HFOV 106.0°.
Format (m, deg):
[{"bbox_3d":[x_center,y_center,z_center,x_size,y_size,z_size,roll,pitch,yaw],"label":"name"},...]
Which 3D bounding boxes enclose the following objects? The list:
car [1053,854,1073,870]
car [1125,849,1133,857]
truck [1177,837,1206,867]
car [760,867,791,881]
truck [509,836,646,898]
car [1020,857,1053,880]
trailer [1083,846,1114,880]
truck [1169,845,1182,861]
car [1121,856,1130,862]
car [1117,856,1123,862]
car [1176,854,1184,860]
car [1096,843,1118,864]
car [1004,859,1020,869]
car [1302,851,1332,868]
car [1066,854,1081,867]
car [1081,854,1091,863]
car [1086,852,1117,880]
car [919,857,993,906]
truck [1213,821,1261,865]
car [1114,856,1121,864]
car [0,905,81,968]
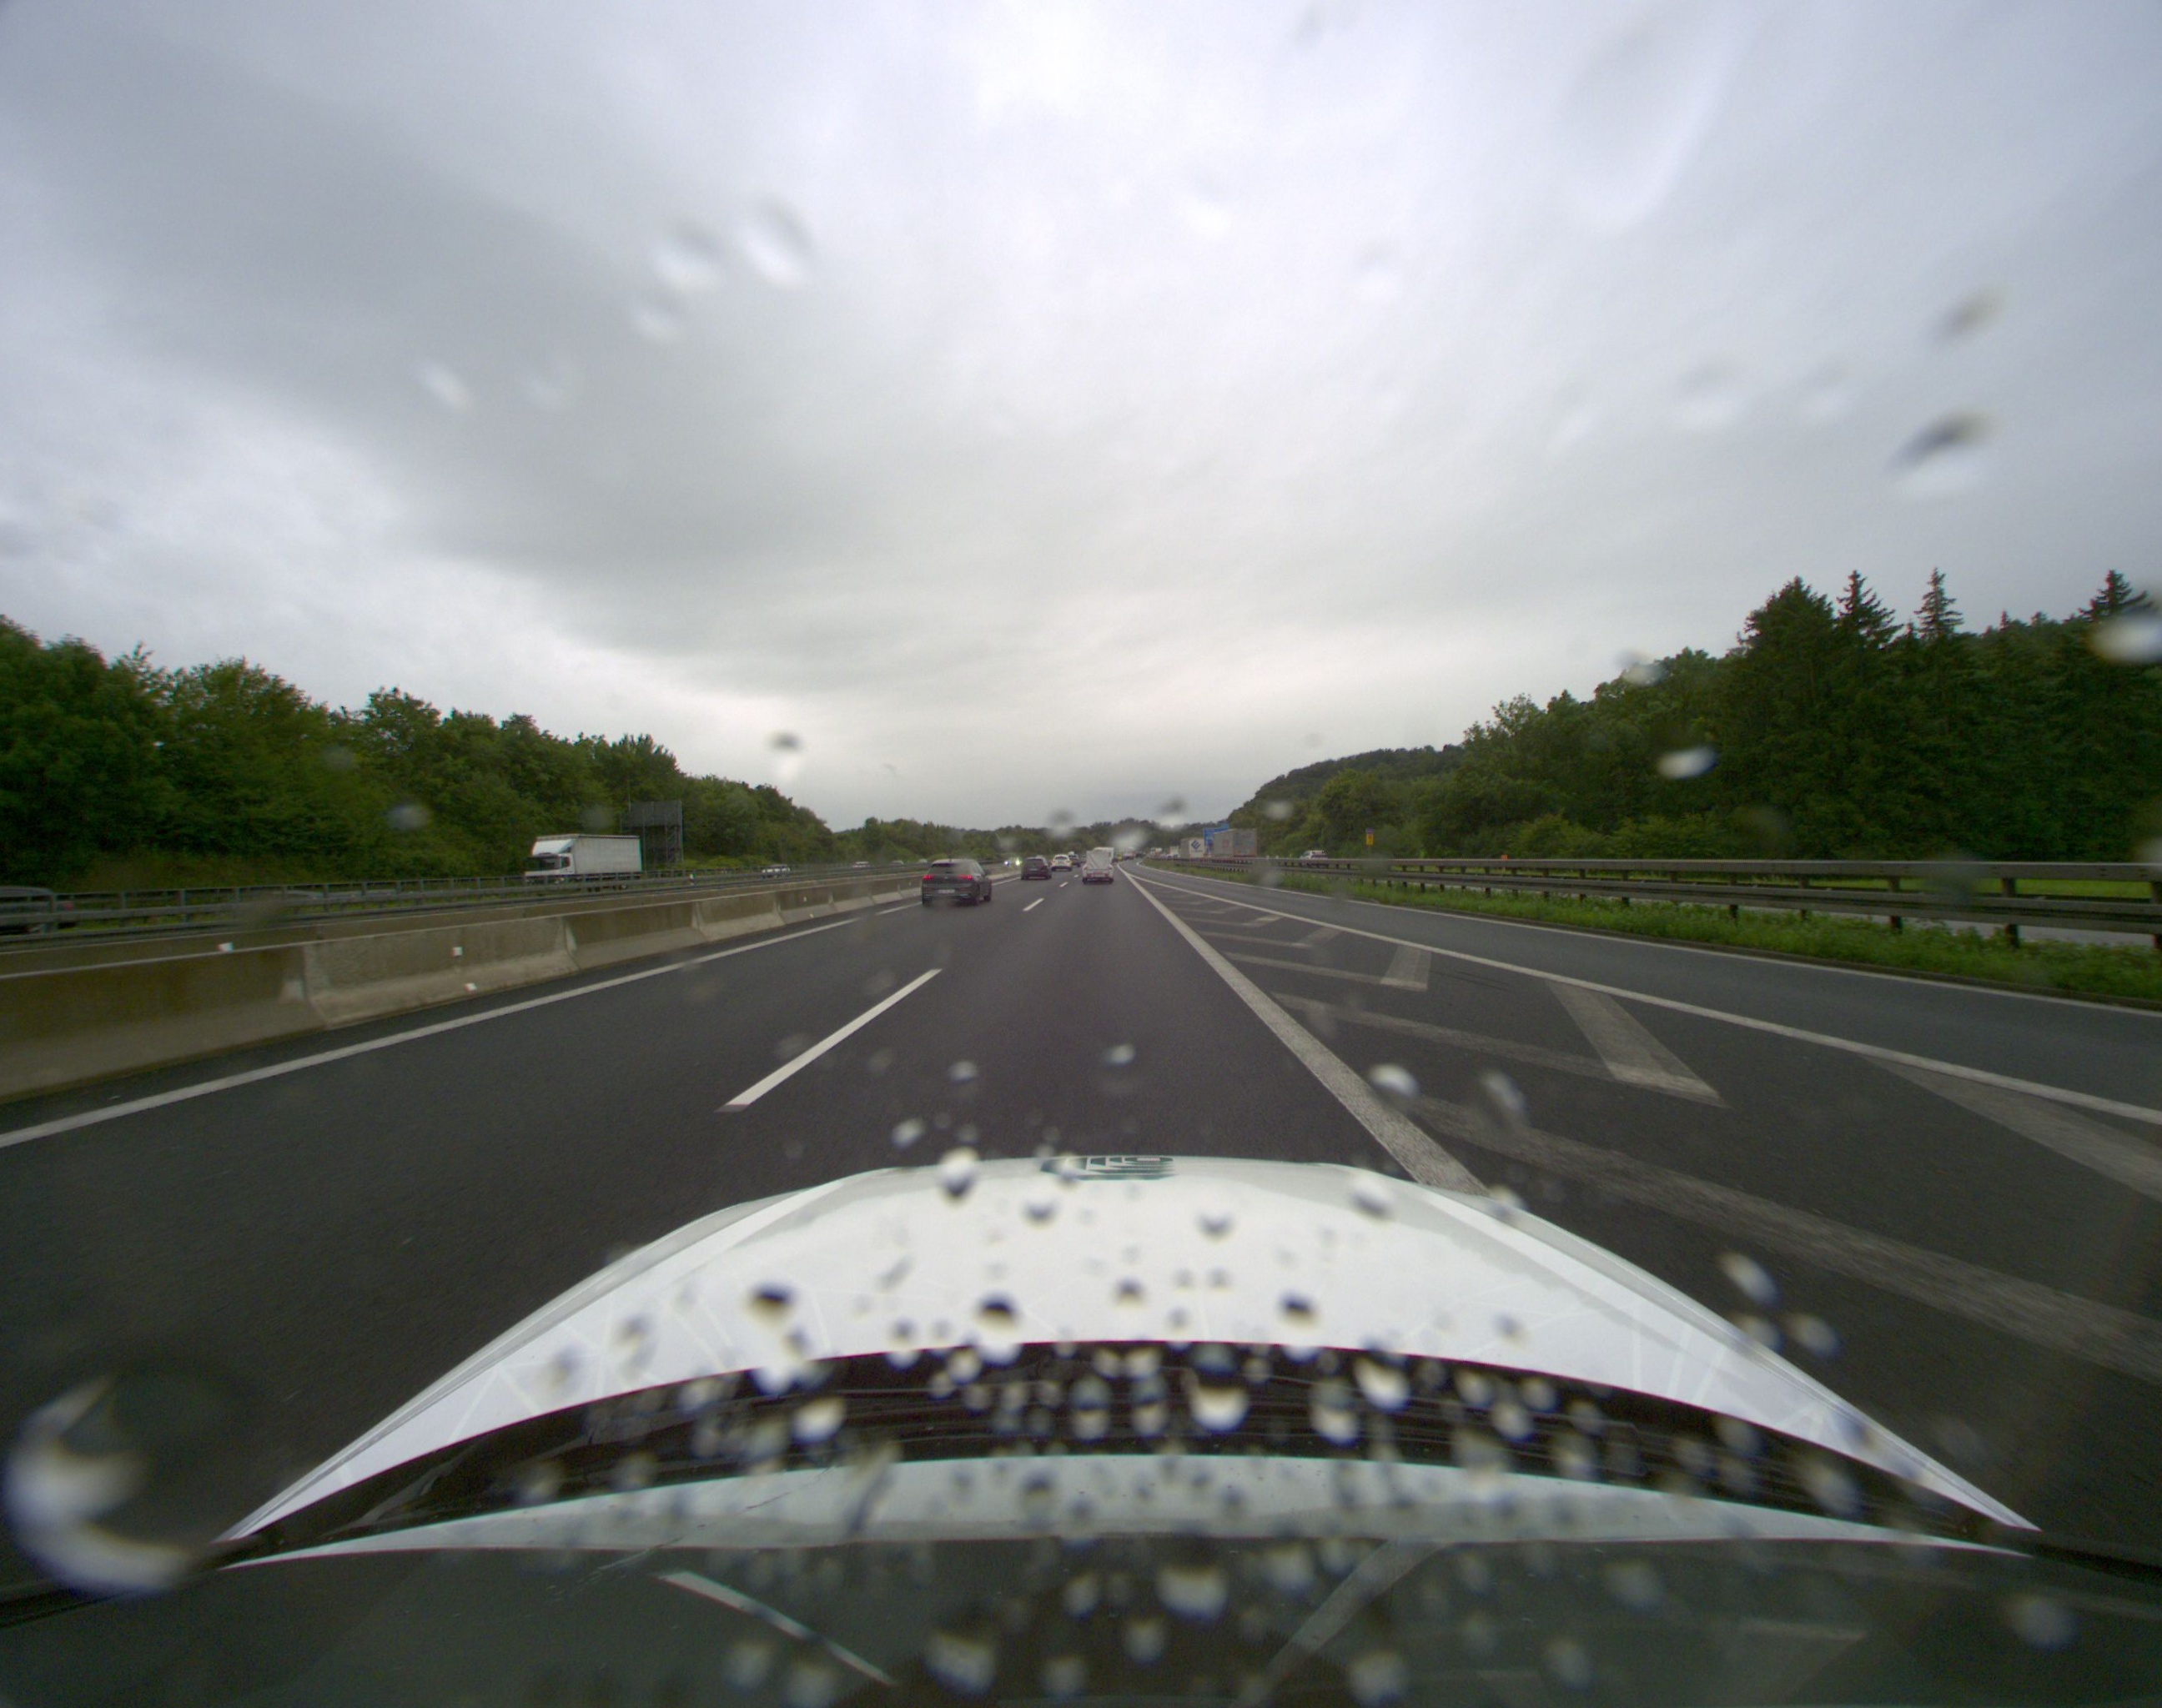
[{"bbox_3d":[-1.778,0.796,81.599,1.769,1.640,4.044,0,0,2],"label":"car"},{"bbox_3d":[14.929,-0.379,253.232,2.504,2.575,5.317,0,-1,4],"label":"car"},{"bbox_3d":[18.178,-0.297,134.662,3.204,4.666,13.034,0,0,1],"label":"truck"},{"bbox_3d":[-32.500,2.093,86.708,1.669,1.456,4.001,0,0,2],"label":"car"},{"bbox_3d":[-33.896,0.859,55.502,3.062,3.879,9.639,0,0,2],"label":"truck"},{"bbox_3d":[-2.919,0.930,53.853,1.758,1.456,4.002,0,0,2],"label":"car"},{"bbox_3d":[1.031,0.512,45.766,1.669,1.812,4.002,0,-1,2],"label":"trailer"},{"bbox_3d":[27.194,-0.199,234.035,3.644,4.666,13.056,0,0,7],"label":"truck"},{"bbox_3d":[12.592,1.304,229.477,2.025,1.683,4.010,0,-1,9],"label":"car"},{"bbox_3d":[10.417,1.327,216.704,1.668,1.812,4.004,0,-1,4],"label":"car"},{"bbox_3d":[23.093,0.695,189.859,1.668,1.456,4.003,0,0,3],"label":"car"},{"bbox_3d":[3.409,-0.011,105.524,2.496,2.585,5.705,0,-1,4],"label":"car"},{"bbox_3d":[-9.679,1.387,114.914,1.749,1.456,4.419,0,0,2],"label":"car"},{"bbox_3d":[21.492,0.511,74.293,1.670,1.456,4.000,0,0,1],"label":"car"},{"bbox_3d":[-0.951,0.880,108.710,1.769,1.640,4.044,0,0,2],"label":"car"},{"bbox_3d":[0.963,0.902,155.949,1.768,1.640,4.047,0,0,4],"label":"car"},{"bbox_3d":[1.248,0.730,49.584,1.812,1.616,4.779,0,0,1],"label":"car"},{"bbox_3d":[-4.007,0.849,26.620,1.669,1.456,4.001,0,0,2],"label":"car"},{"bbox_3d":[17.585,-1.099,92.834,3.204,4.666,13.032,0,0,1],"label":"truck"},{"bbox_3d":[8.456,1.380,188.174,1.668,1.812,4.004,0,-1,4],"label":"car"},{"bbox_3d":[-27.581,2.090,19.753,1.670,1.456,3.999,0,0,0],"label":"car"}]
